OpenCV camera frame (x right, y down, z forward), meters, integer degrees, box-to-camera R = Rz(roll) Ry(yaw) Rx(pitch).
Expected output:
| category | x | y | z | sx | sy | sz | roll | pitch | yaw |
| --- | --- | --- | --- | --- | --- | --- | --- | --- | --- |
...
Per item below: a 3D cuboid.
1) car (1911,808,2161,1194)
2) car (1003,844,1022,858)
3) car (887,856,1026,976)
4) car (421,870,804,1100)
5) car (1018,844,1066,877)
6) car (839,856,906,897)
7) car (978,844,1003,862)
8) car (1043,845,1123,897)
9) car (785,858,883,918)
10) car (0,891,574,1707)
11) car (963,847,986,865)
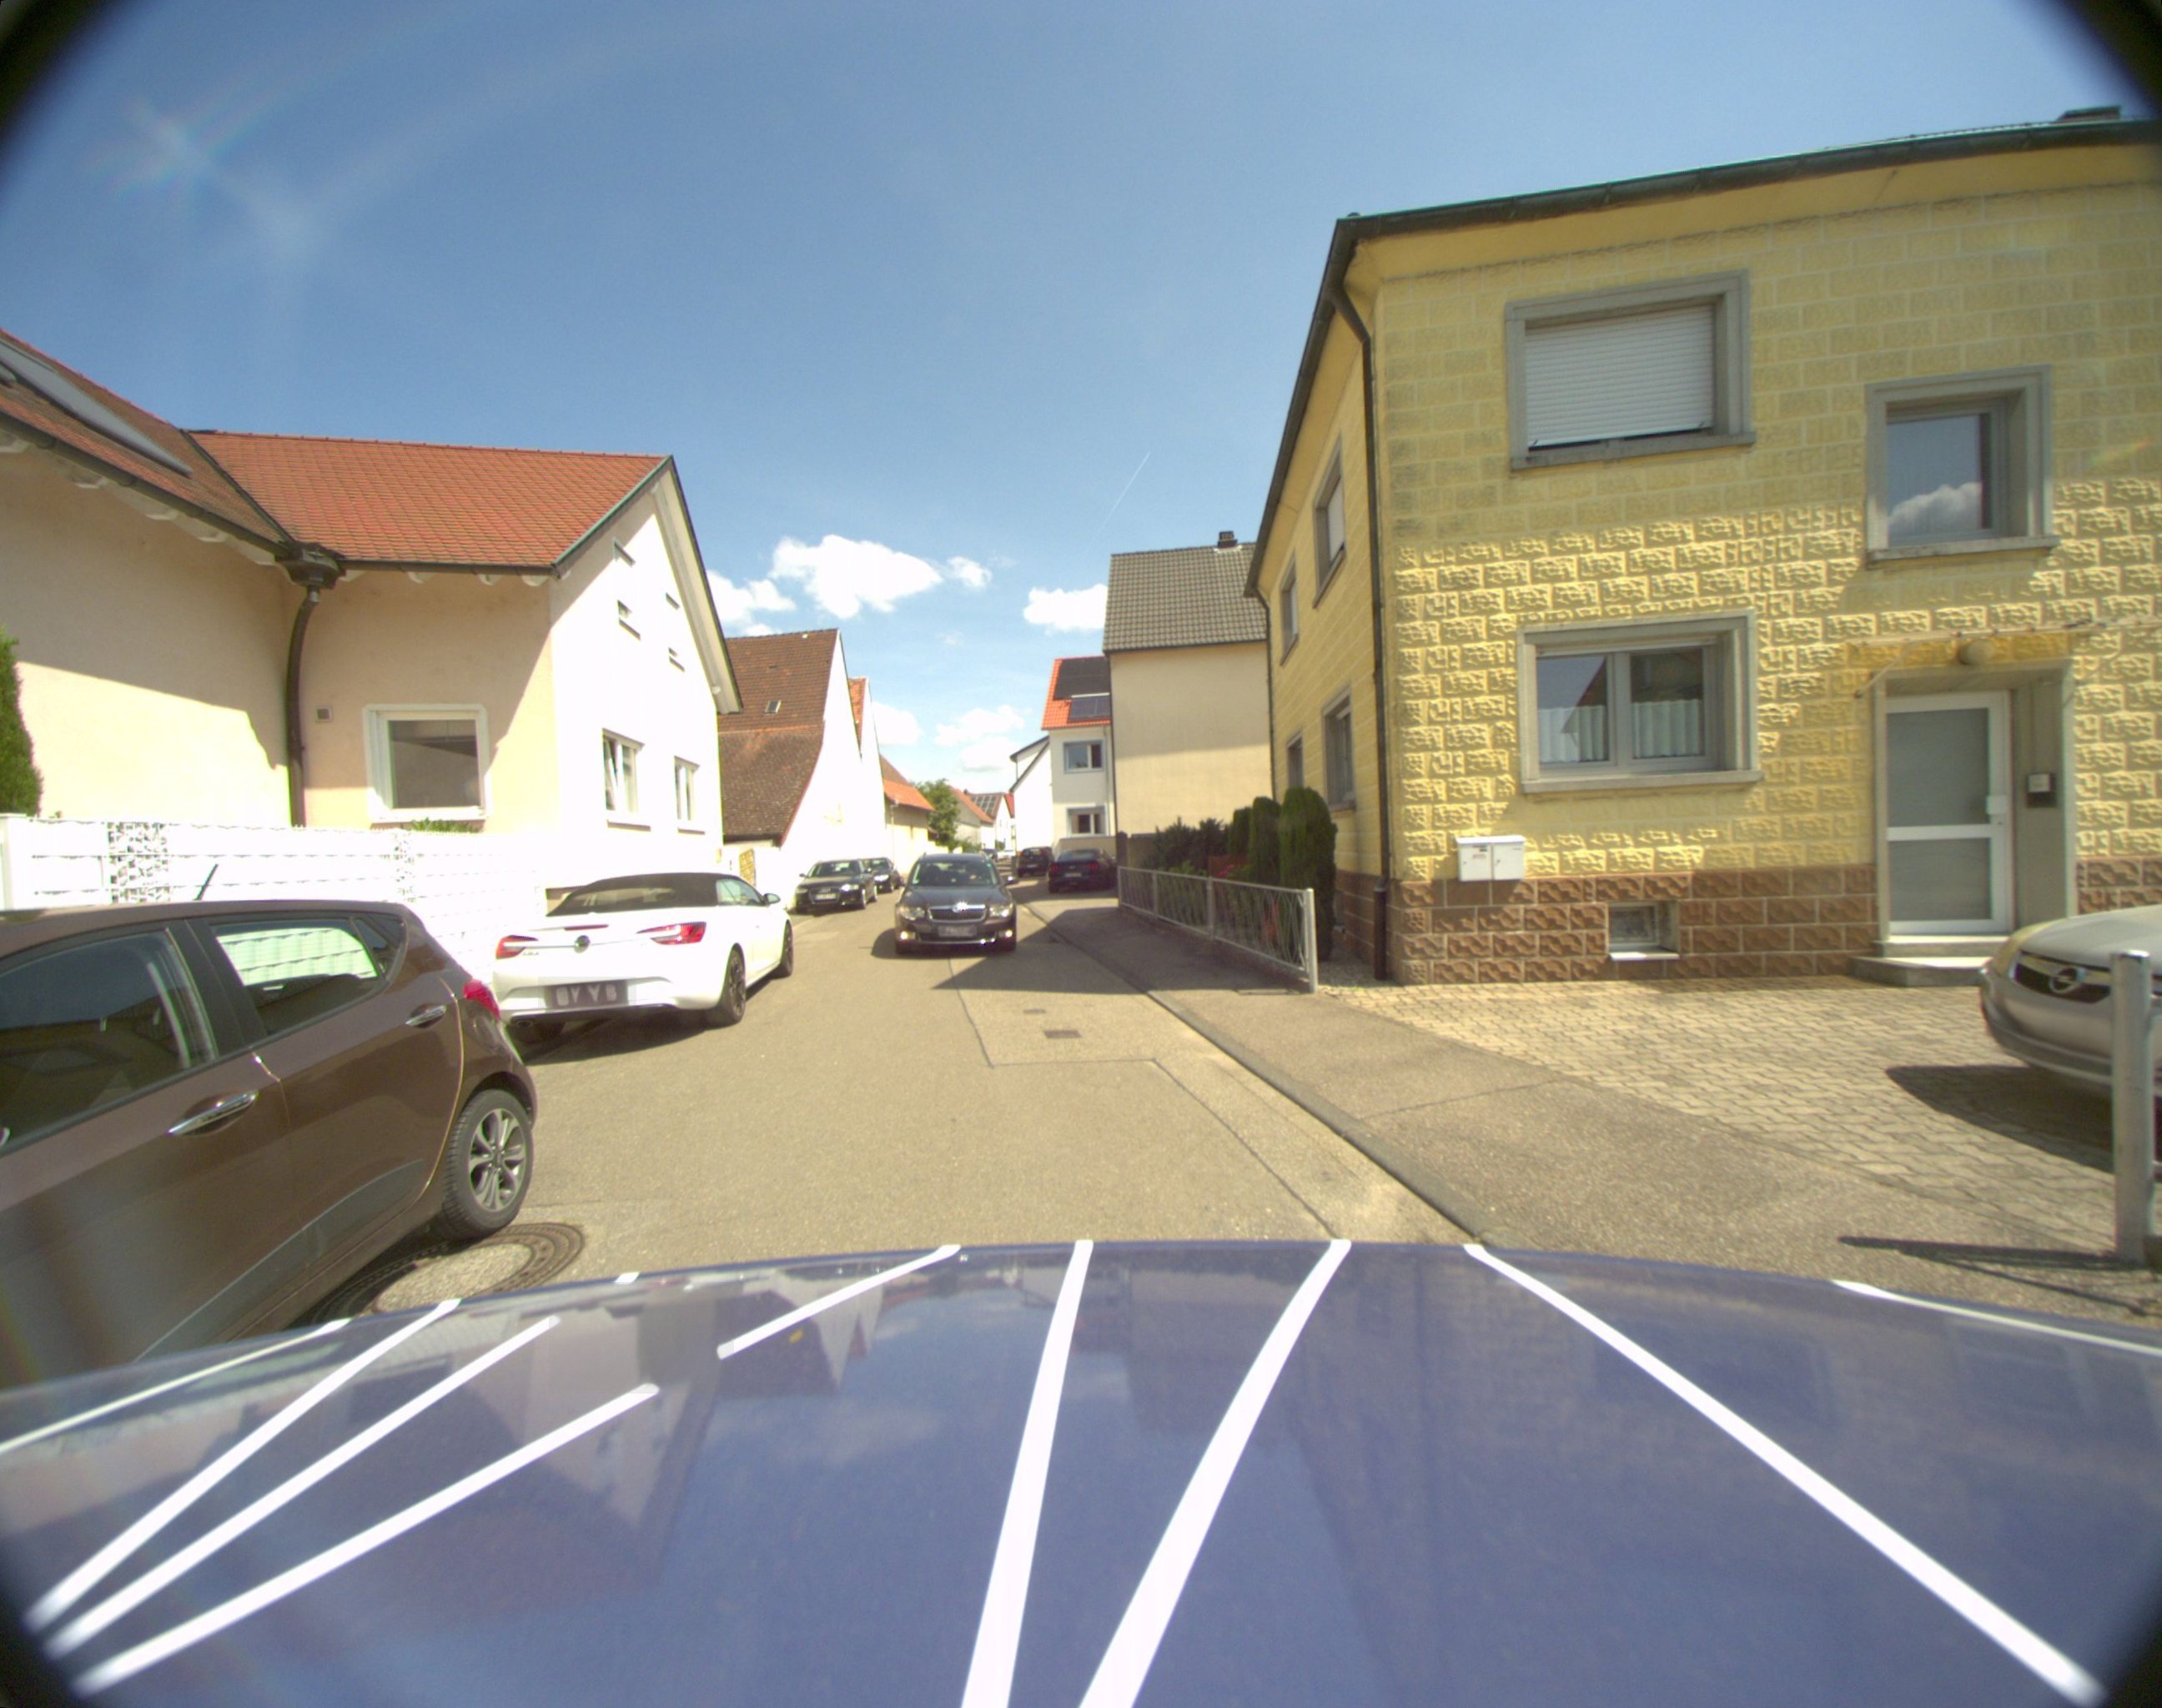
| category | x | y | z | sx | sy | sz | roll | pitch | yaw |
| --- | --- | --- | --- | --- | --- | --- | --- | --- | --- |
| car | 6.424 | 0.490 | 2.635 | 4.463 | 1.477 | 1.794 | -2 | 1 | 19 |
| car | -8.777 | -0.433 | 97.698 | 1.784 | 1.492 | 4.038 | -5 | 1 | 2 |
| car | -2.164 | 0.810 | 12.344 | 1.787 | 1.527 | 4.704 | -1 | 0 | -13 |
| car | -4.443 | 1.043 | 8.242 | 1.902 | 1.421 | 4.731 | -5 | 2 | -11 |
| car | -1.926 | 0.297 | 38.557 | 1.641 | 1.446 | 3.788 | -4 | 1 | 8 |
| car | -8.171 | 0.833 | 30.154 | 1.901 | 1.357 | 4.410 | -3 | 1 | -7 |
| car | -9.180 | -0.103 | 77.217 | 1.784 | 1.600 | 3.999 | -5 | 1 | 2 |
| car | 0.184 | 0.487 | 24.909 | 1.773 | 1.342 | 4.471 | -4 | 2 | 10 |
| car | -7.020 | 0.905 | 22.080 | 1.902 | 1.357 | 4.732 | -3 | 1 | -9 |
| car | -3.122 | 1.060 | 1.739 | 1.718 | 1.524 | 4.030 | -6 | 2 | -12 |
| car | -9.524 | 0.136 | 68.119 | 1.785 | 1.471 | 3.997 | -2 | 1 | -5 |
